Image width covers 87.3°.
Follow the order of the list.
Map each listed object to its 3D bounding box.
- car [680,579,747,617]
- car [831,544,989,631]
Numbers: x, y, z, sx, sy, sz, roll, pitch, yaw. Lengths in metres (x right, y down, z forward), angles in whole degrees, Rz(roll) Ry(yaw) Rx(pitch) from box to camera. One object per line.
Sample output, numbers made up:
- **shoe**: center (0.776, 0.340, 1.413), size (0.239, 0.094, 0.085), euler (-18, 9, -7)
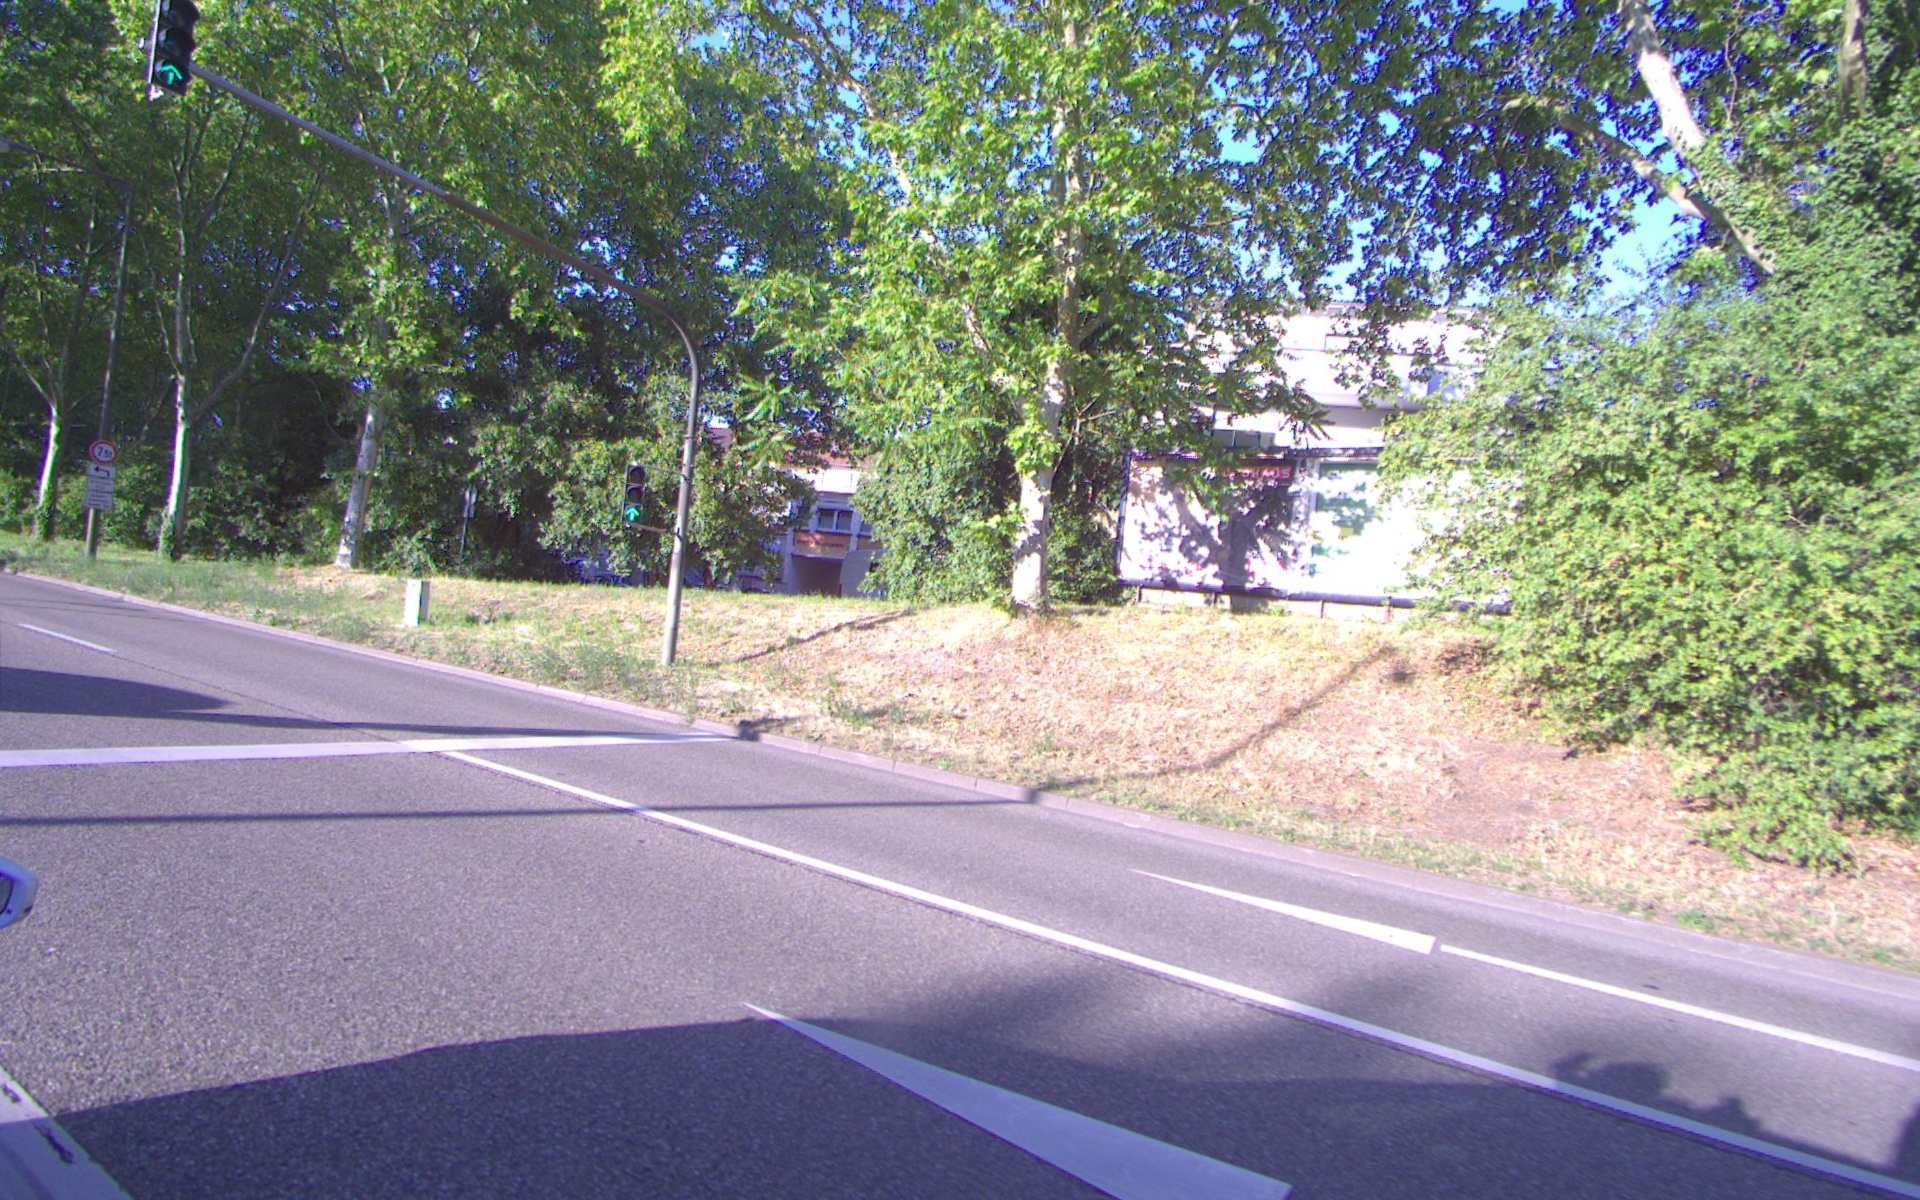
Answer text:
- **car**: center (-14.206, -0.075, 58.231), size (1.882, 1.725, 4.005), euler (6, -2, 16)
- **car**: center (-1.859, -0.500, 35.974), size (5.543, 2.542, 1.802), euler (5, -2, 37)
